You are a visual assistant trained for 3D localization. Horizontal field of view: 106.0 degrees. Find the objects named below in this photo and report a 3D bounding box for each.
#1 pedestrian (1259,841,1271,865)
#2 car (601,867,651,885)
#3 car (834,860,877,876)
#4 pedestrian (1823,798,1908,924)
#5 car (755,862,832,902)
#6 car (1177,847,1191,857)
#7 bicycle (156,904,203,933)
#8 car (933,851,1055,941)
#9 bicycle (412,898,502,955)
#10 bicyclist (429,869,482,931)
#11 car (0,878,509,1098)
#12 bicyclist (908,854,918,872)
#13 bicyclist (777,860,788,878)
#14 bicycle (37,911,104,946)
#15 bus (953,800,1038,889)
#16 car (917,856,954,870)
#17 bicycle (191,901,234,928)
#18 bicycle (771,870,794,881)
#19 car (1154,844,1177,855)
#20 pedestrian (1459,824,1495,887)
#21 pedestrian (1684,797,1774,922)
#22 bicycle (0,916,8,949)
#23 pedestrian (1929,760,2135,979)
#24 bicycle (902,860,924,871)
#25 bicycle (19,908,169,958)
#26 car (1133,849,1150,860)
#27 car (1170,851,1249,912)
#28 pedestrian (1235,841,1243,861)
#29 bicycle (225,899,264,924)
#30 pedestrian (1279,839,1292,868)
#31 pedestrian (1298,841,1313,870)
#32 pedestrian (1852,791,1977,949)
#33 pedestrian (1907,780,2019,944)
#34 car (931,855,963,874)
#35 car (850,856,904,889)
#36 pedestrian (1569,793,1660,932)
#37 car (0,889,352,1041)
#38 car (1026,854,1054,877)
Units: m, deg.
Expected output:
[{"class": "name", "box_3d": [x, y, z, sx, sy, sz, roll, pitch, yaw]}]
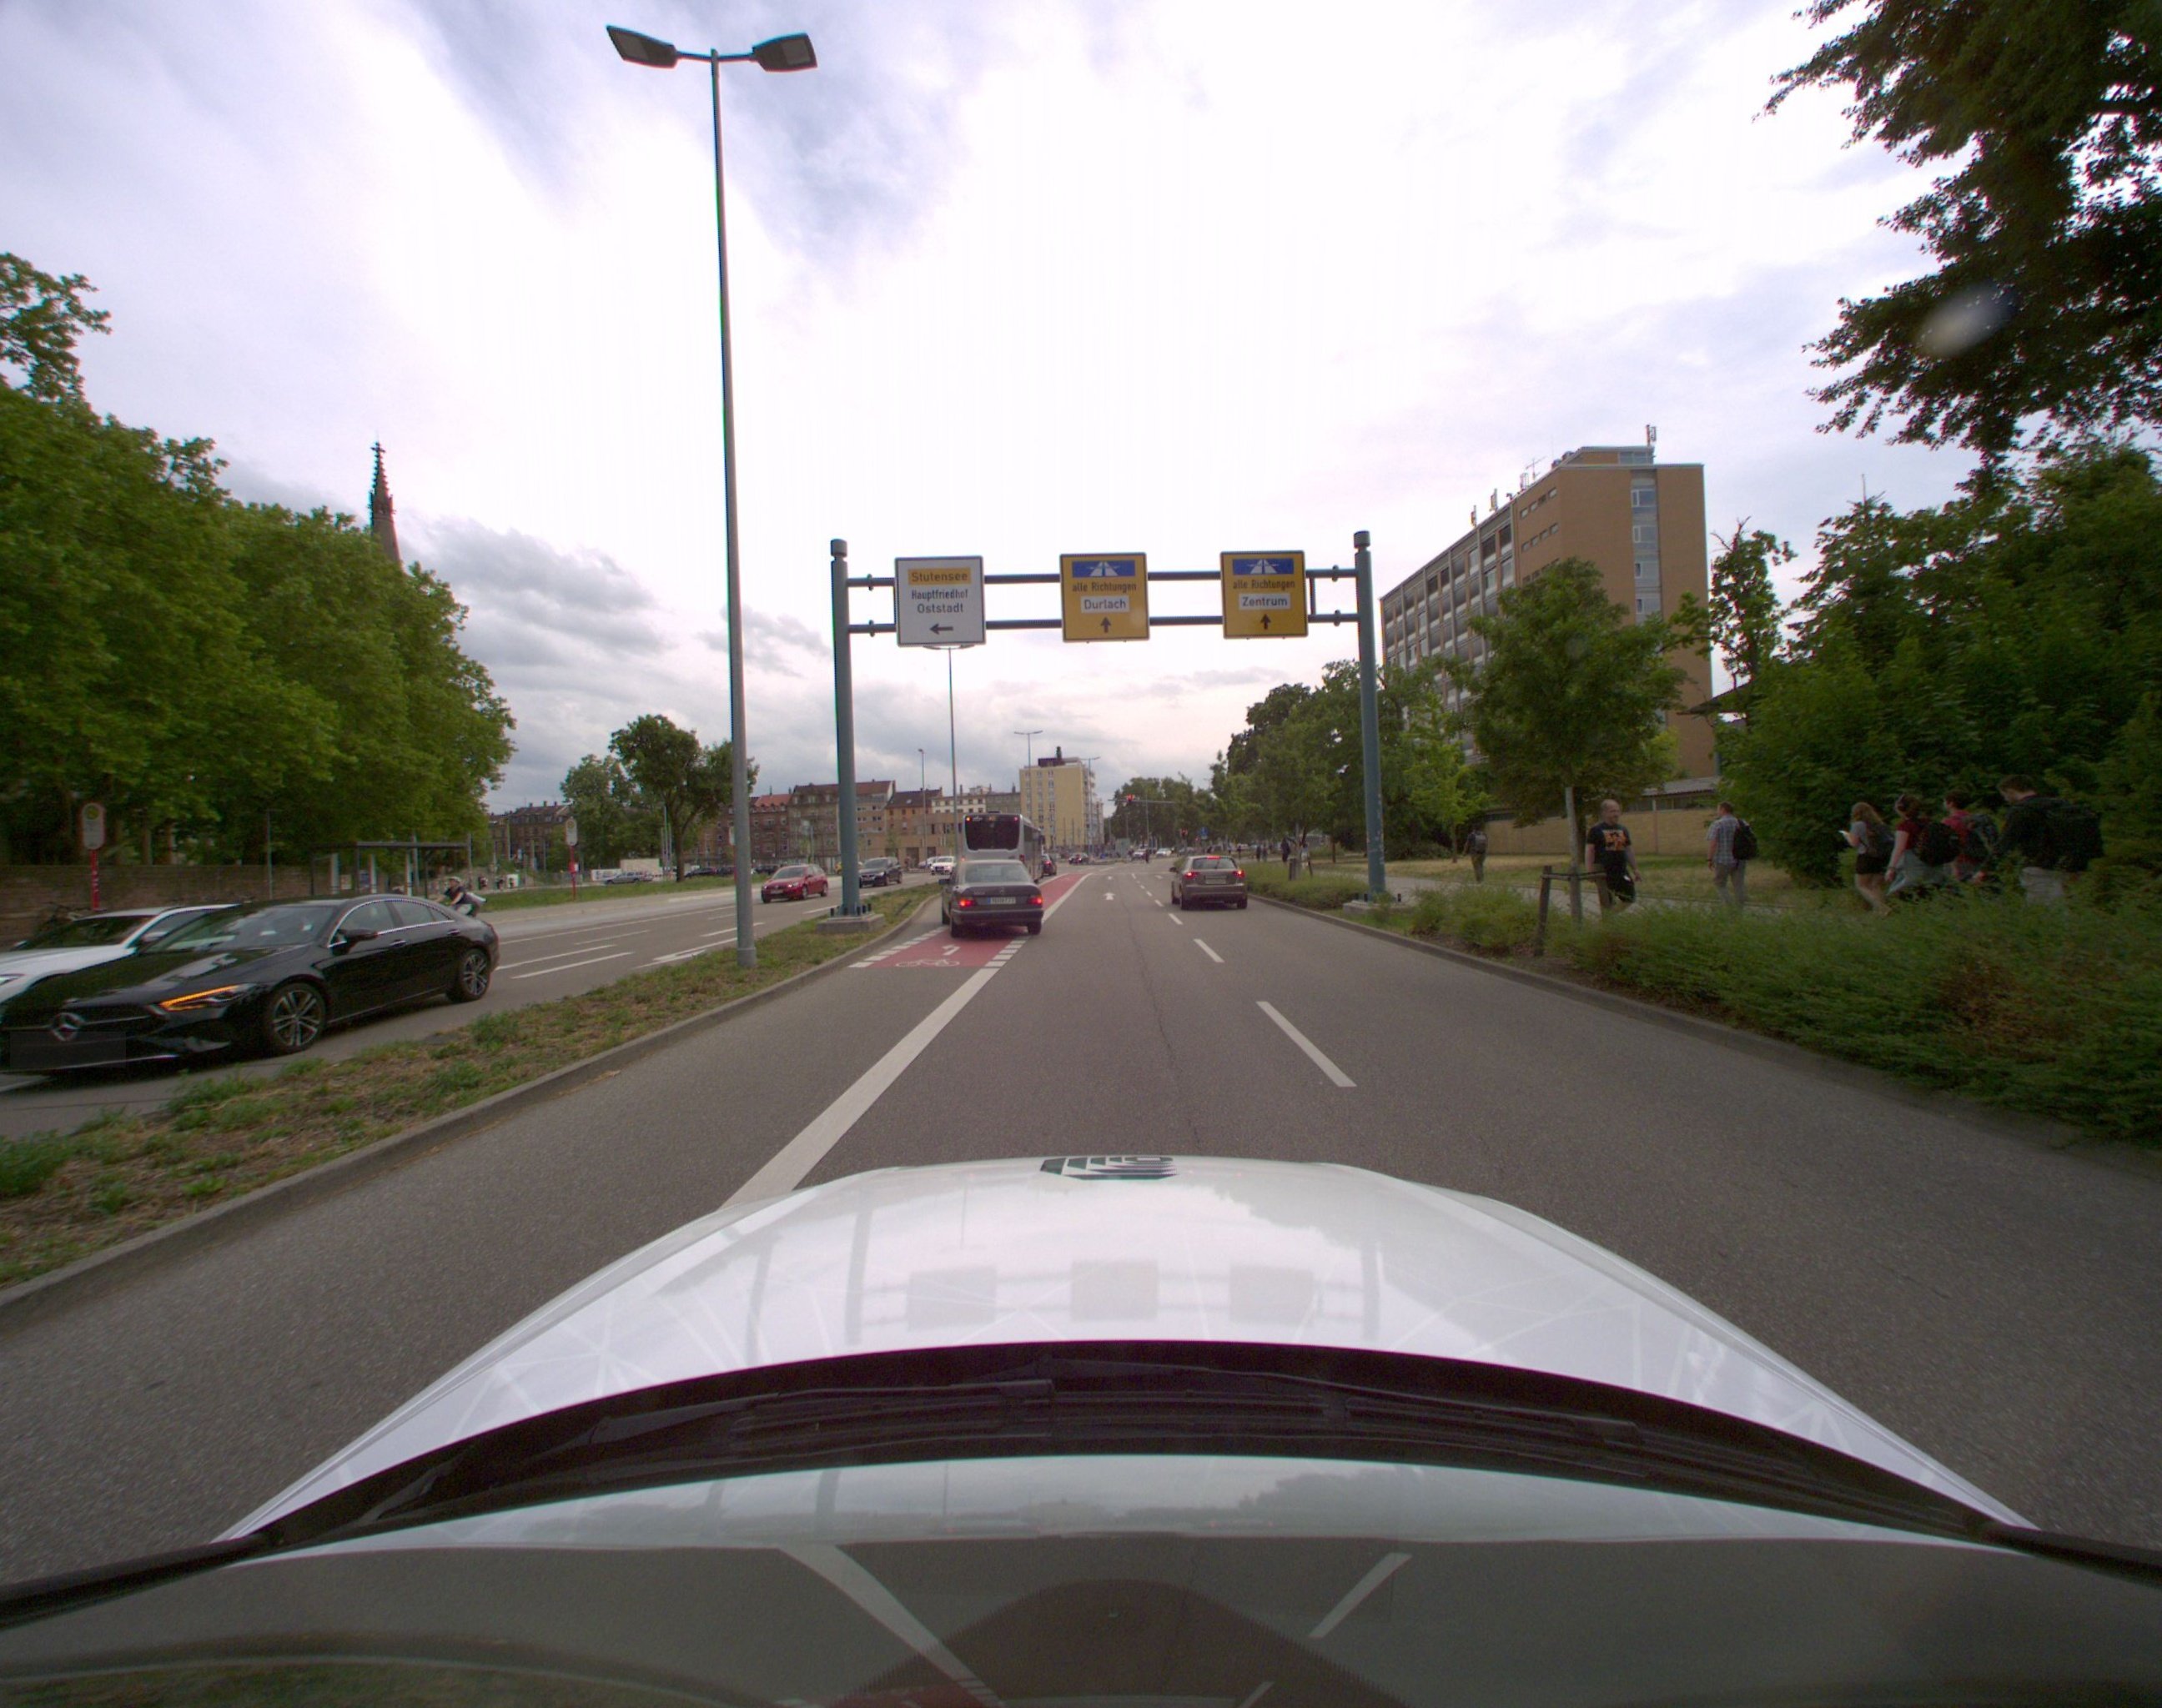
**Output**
[{"class": "pedestrian", "box_3d": [13.184, -0.074, 58.366, 0.796, 1.713, 0.768, -3, 0, 14]}, {"class": "car", "box_3d": [-47.765, 2.312, 85.562, 4.147, 1.649, 1.644, -3, 0, -5]}, {"class": "car", "box_3d": [-22.678, 1.388, 82.000, 3.848, 1.517, 1.658, -1, 0, -4]}, {"class": "pedestrian", "box_3d": [10.589, 0.086, 11.014, 0.466, 1.633, 0.653, -3, 0, 2]}, {"class": "car", "box_3d": [-12.255, 1.139, 34.996, 1.796, 1.489, 4.287, -2, 0, -1]}, {"class": "car", "box_3d": [21.095, -0.437, 166.397, 1.791, 1.850, 4.021, -3, 0, 21]}, {"class": "bicycle", "box_3d": [-32.032, 2.272, 28.962, 0.483, 0.907, 1.608, 0, -1, -23]}, {"class": "car", "box_3d": [-1.872, 0.742, 16.324, 1.764, 1.489, 4.149, -2, 0, -15]}, {"class": "bicycle", "box_3d": [-15.029, 1.713, 19.696, 0.579, 1.170, 1.965, -2, 0, 1]}, {"class": "bicyclist", "box_3d": [-15.067, 1.084, 19.623, 0.578, 1.419, 0.811, -2, 0, 1]}, {"class": "car", "box_3d": [-8.145, 1.096, 8.433, 1.801, 1.489, 4.392, -2, 0, -9]}, {"class": "bicyclist", "box_3d": [-16.404, 0.876, 79.359, 0.784, 1.643, 0.613, -3, 0, -1]}, {"class": "bicyclist", "box_3d": [-28.881, 1.449, 78.803, 0.785, 1.643, 0.571, -3, 0, -4]}, {"class": "bicycle", "box_3d": [-30.393, 2.229, 24.520, 0.483, 0.907, 1.609, -3, 0, -21]}, {"class": "bus", "box_3d": [-3.570, -0.392, 36.166, 2.822, 3.390, 8.181, -2, 0, 0]}, {"class": "car", "box_3d": [-15.890, 0.998, 89.111, 3.692, 1.394, 1.571, -1, 0, -26]}, {"class": "bicycle", "box_3d": [-32.964, 2.293, 30.934, 0.483, 0.907, 1.608, 0, -1, -23]}, {"class": "bicycle", "box_3d": [-28.875, 2.089, 78.852, 1.960, 0.982, 0.630, -3, 0, -4]}, {"class": "car", "box_3d": [16.297, -0.884, 156.767, 2.559, 2.109, 5.634, -2, 0, 26]}, {"class": "pedestrian", "box_3d": [10.938, 0.028, 22.498, 0.585, 1.682, 0.748, -3, 0, 2]}, {"class": "pedestrian", "box_3d": [9.488, 0.076, 11.954, 0.616, 1.735, 0.815, -3, 0, 2]}, {"class": "bicycle", "box_3d": [-29.209, 2.114, 21.372, 0.442, 0.878, 1.610, 0, -1, -19]}, {"class": "pedestrian", "box_3d": [8.537, 0.126, 7.365, 0.690, 1.821, 0.954, -3, 0, 2]}, {"class": "bicycle", "box_3d": [-16.365, 1.096, 79.362, 1.959, 0.982, 0.630, -3, 0, -2]}, {"class": "bicycle", "box_3d": [-23.508, 1.857, 19.484, 0.467, 0.918, 2.345, -2, 0, 9]}, {"class": "car", "box_3d": [9.990, 0.085, 134.146, 1.979, 1.703, 4.017, -2, 0, 15]}, {"class": "car", "box_3d": [3.483, 0.703, 22.650, 1.717, 1.457, 3.739, -2, 0, 3]}, {"class": "pedestrian", "box_3d": [16.209, -0.341, 83.524, 0.612, 2.013, 0.597, -2, 0, 0]}, {"class": "bicycle", "box_3d": [-33.664, 2.310, 32.801, 0.483, 0.907, 1.608, 0, -1, -23]}, {"class": "pedestrian", "box_3d": [12.309, -0.058, 49.051, 0.641, 1.713, 0.564, -3, 0, 16]}, {"class": "pedestrian", "box_3d": [11.988, 0.082, 43.440, 0.652, 1.470, 0.564, -3, 0, 18]}, {"class": "pedestrian", "box_3d": [9.169, 0.169, 8.992, 0.553, 1.655, 0.754, -3, 0, 2]}, {"class": "pedestrian", "box_3d": [9.908, 0.088, 9.173, 0.482, 1.763, 0.664, -3, 0, 2]}, {"class": "car", "box_3d": [-10.490, 0.804, 63.937, 1.664, 1.389, 3.924, -3, 0, 2]}, {"class": "car", "box_3d": [-11.686, 1.020, 46.957, 1.795, 1.665, 4.301, -4, 0, 1]}, {"class": "pedestrian", "box_3d": [7.406, 0.116, 11.356, 0.925, 1.830, 0.892, -3, 0, 29]}, {"class": "car", "box_3d": [-12.939, 1.366, 11.143, 1.795, 1.489, 4.418, -2, 0, 2]}, {"class": "car", "box_3d": [-2.741, 0.742, 54.866, 1.650, 1.396, 3.858, -2, 0, -1]}]
